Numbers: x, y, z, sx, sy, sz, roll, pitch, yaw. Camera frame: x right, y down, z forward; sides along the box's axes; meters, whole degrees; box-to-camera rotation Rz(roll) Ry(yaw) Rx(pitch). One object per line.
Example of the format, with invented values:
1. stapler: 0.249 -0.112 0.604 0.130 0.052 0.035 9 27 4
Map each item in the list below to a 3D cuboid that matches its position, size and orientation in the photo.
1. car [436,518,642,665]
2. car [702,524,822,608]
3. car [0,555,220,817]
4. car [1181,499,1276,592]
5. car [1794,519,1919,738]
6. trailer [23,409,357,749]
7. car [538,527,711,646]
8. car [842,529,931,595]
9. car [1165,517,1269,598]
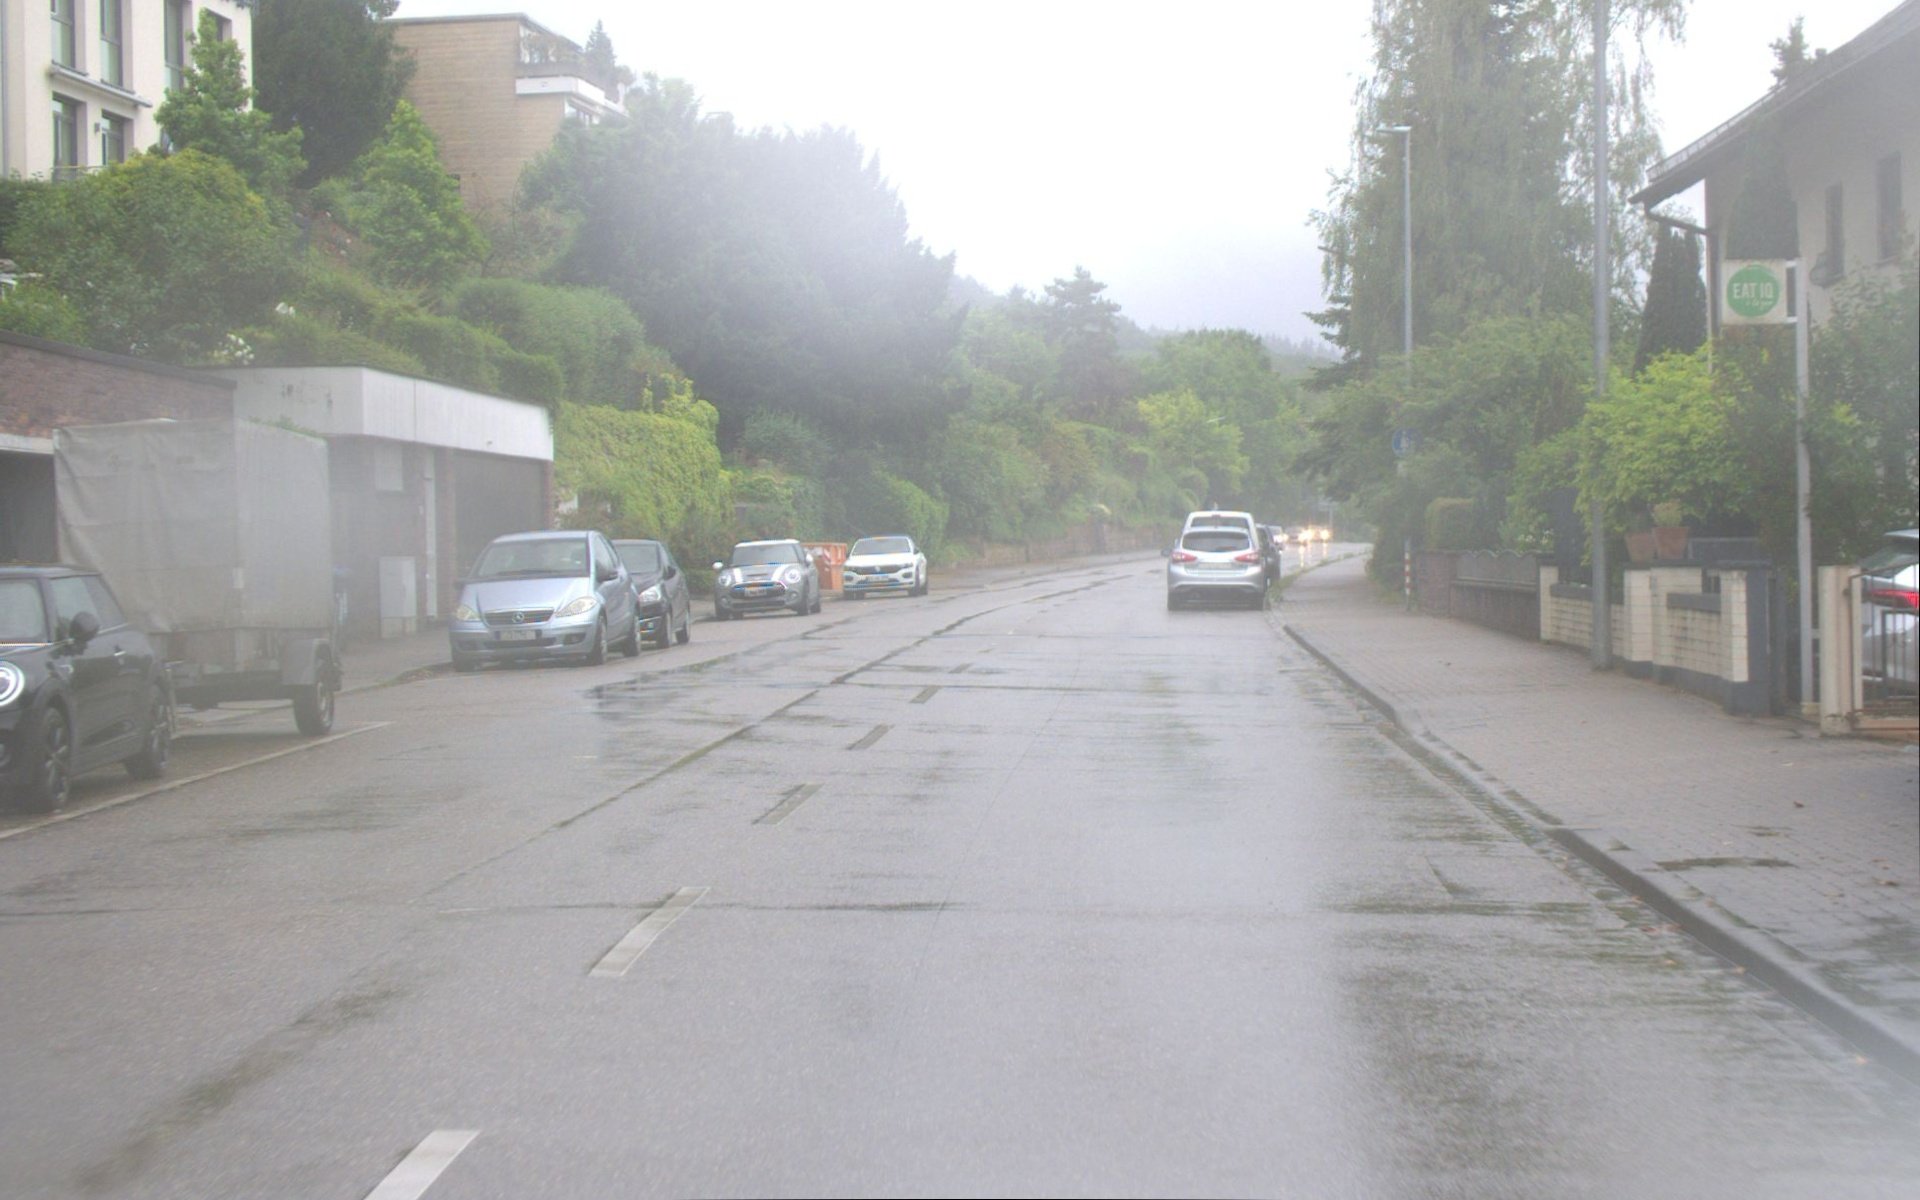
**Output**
1. car: -4.956 -0.141 40.951 1.756 1.534 3.756 -4 2 2
2. car: -3.636 -0.648 63.753 1.756 1.397 3.770 -3 1 3
3. car: -5.806 0.471 20.645 1.808 1.344 3.776 -2 2 1
4. car: 5.436 -1.105 69.254 1.785 1.784 4.360 0 1 6
5. car: 8.146 0.214 23.973 4.221 1.441 1.702 1 2 1
6. trailer: -5.847 -0.192 26.429 1.537 2.391 3.072 -3 1 5
7. car: -4.498 -0.213 46.532 1.756 1.404 3.705 -4 2 2
8. car: -1.734 -0.933 82.688 1.756 1.492 4.220 -2 1 3
9. car: 4.805 -0.803 63.851 1.789 1.455 4.307 0 1 6
